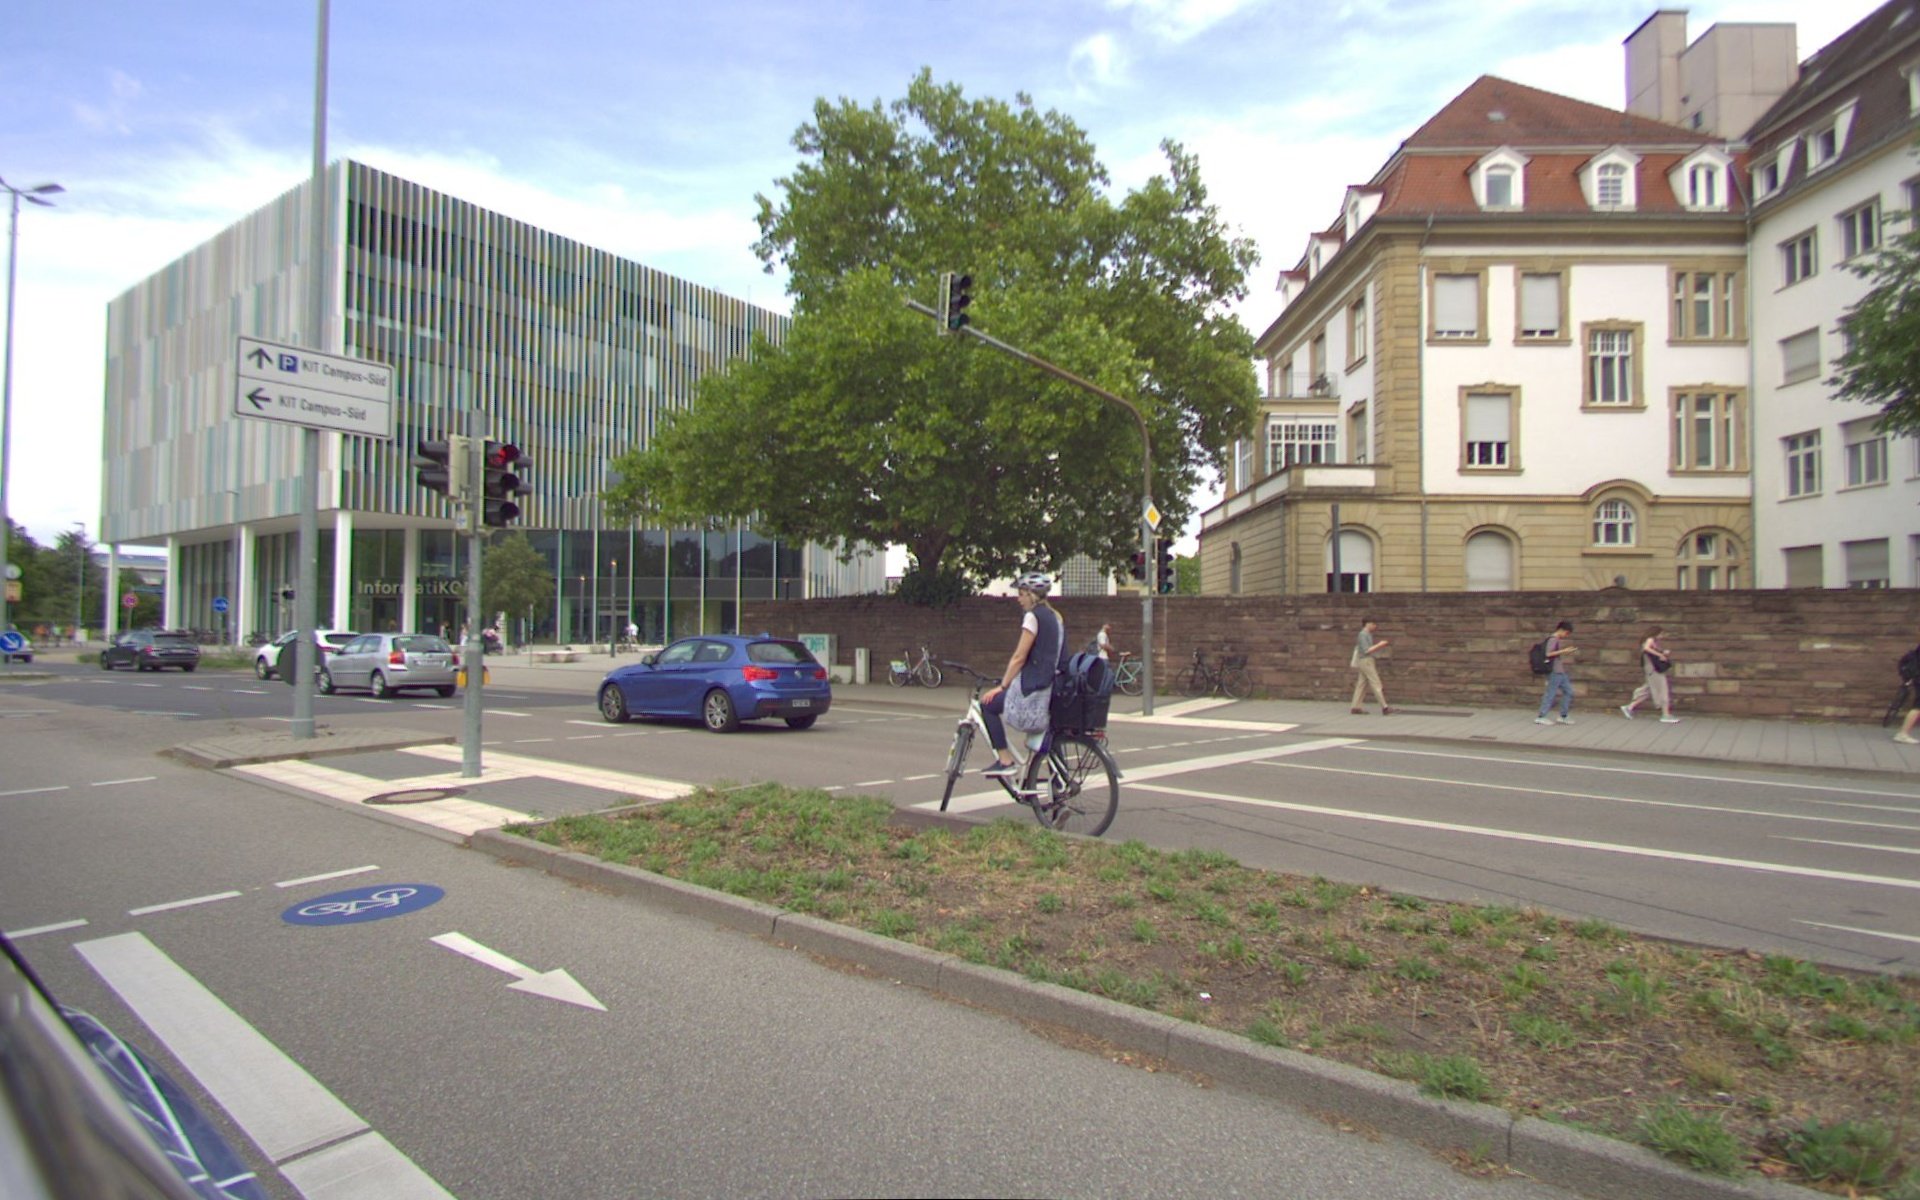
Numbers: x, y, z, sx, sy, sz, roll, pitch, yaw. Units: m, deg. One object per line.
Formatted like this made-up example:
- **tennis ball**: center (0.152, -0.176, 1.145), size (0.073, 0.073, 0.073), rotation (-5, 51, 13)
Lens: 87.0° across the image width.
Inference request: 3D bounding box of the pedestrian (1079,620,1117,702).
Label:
- **pedestrian**: center (3.106, 1.363, 22.833), size (0.774, 1.796, 0.746), rotation (1, -1, 5)

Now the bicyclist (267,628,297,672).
- **bicyclist**: center (-26.585, 1.959, 39.684), size (0.719, 1.685, 0.723), rotation (-1, -1, 23)

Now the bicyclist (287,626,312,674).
- **bicyclist**: center (-25.193, 1.898, 38.607), size (0.558, 1.820, 0.597), rotation (-1, -1, 23)

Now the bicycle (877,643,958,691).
- **bicycle**: center (-1.111, 1.702, 25.952), size (2.160, 1.134, 0.572), rotation (-1, 0, 36)

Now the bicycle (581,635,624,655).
- **bicycle**: center (-20.235, 2.520, 57.346), size (0.791, 1.098, 2.663), rotation (-1, -2, 21)

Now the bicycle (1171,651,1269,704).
- **bicycle**: center (5.604, 1.651, 21.874), size (1.975, 1.066, 0.544), rotation (-1, 0, 34)

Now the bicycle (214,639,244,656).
- **bicycle**: center (-49.286, 3.201, 68.244), size (0.388, 1.031, 1.565), rotation (-1, 0, 31)

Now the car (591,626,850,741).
- **car**: center (-3.781, 1.188, 15.674), size (4.099, 1.523, 1.784), rotation (-1, -2, 39)

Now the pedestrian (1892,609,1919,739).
- **pedestrian**: center (13.698, 1.035, 14.078), size (0.775, 1.796, 0.758), rotation (1, -1, 11)

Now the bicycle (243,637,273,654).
- **bicycle**: center (-44.512, 2.862, 64.225), size (0.398, 1.002, 1.529), rotation (-1, 0, 32)

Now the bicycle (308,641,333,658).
- **bicycle**: center (-36.898, 2.843, 58.405), size (0.389, 0.944, 1.609), rotation (-1, 0, 3)

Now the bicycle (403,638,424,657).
- **bicycle**: center (-31.257, 2.710, 57.872), size (0.388, 1.037, 1.546), rotation (-1, 0, -1)

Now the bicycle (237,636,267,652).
- **bicycle**: center (-45.519, 2.813, 65.085), size (0.388, 0.944, 1.530), rotation (-1, 0, 31)

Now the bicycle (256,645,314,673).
- **bicycle**: center (-26.535, 2.316, 39.794), size (0.724, 0.996, 1.808), rotation (-1, -1, 23)

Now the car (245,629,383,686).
- **car**: center (-20.184, 1.747, 31.593), size (4.406, 1.665, 1.851), rotation (-1, -2, 31)

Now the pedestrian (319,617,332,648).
- **pedestrian**: center (-41.996, 2.152, 66.962), size (0.623, 2.059, 0.506), rotation (-2, -3, 35)

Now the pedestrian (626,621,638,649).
- **pedestrian**: center (-20.529, 2.186, 63.344), size (0.626, 1.792, 0.597), rotation (0, -2, -8)

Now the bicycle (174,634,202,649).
- **bicycle**: center (-55.344, 2.956, 72.518), size (0.388, 1.031, 1.565), rotation (-1, 0, 31)

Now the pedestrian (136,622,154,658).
- **pedestrian**: center (-42.414, 2.067, 52.671), size (0.771, 1.851, 0.506), rotation (-2, -3, 36)

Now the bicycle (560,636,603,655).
- **bicycle**: center (-21.508, 2.571, 57.512), size (0.668, 1.007, 2.663), rotation (-1, -2, 21)

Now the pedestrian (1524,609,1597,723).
- **pedestrian**: center (9.789, 1.052, 16.527), size (0.775, 1.796, 0.759), rotation (1, -1, 10)

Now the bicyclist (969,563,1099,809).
- **bicyclist**: center (0.507, 0.570, 6.991), size (0.699, 1.586, 0.566), rotation (-2, -3, 44)

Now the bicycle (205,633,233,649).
- **bicycle**: center (-51.047, 2.837, 69.722), size (0.388, 1.031, 1.565), rotation (-1, 0, 31)

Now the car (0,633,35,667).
- **car**: center (-44.522, 2.293, 46.838), size (4.538, 1.500, 1.745), rotation (-1, -2, 37)

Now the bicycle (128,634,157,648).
- **bicycle**: center (-63.558, 3.168, 78.693), size (0.433, 1.031, 1.686), rotation (-1, 0, 31)

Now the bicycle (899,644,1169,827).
- **bicycle**: center (0.442, 0.846, 6.915), size (1.926, 1.063, 0.567), rotation (-2, -3, 44)

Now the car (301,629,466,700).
- **car**: center (-13.444, 1.433, 23.527), size (4.282, 1.500, 1.785), rotation (-1, -2, 37)

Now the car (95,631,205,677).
- **car**: center (-30.451, 1.967, 38.017), size (4.731, 1.628, 1.881), rotation (-1, -2, 34)

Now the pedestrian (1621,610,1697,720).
- **pedestrian**: center (11.797, 1.083, 17.111), size (0.775, 1.796, 0.759), rotation (1, -1, 8)

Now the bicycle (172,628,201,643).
- **bicycle**: center (-55.843, 2.567, 73.038), size (0.388, 1.031, 1.565), rotation (-1, -4, 31)

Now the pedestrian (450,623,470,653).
- **pedestrian**: center (-26.634, 2.021, 53.921), size (0.670, 1.612, 0.729), rotation (0, -2, 6)

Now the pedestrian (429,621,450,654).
- **pedestrian**: center (-27.651, 1.985, 53.789), size (0.669, 1.753, 0.729), rotation (0, -2, 3)

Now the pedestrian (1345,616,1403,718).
- **pedestrian**: center (7.523, 1.207, 18.432), size (0.774, 1.796, 0.745), rotation (1, -1, 7)

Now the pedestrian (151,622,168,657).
- **pedestrian**: center (-42.065, 2.089, 53.167), size (0.623, 1.851, 0.506), rotation (-2, -3, 36)

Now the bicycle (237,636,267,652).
- **bicycle**: center (-45.180, 2.810, 64.618), size (0.393, 0.944, 1.530), rotation (-1, 0, 31)
